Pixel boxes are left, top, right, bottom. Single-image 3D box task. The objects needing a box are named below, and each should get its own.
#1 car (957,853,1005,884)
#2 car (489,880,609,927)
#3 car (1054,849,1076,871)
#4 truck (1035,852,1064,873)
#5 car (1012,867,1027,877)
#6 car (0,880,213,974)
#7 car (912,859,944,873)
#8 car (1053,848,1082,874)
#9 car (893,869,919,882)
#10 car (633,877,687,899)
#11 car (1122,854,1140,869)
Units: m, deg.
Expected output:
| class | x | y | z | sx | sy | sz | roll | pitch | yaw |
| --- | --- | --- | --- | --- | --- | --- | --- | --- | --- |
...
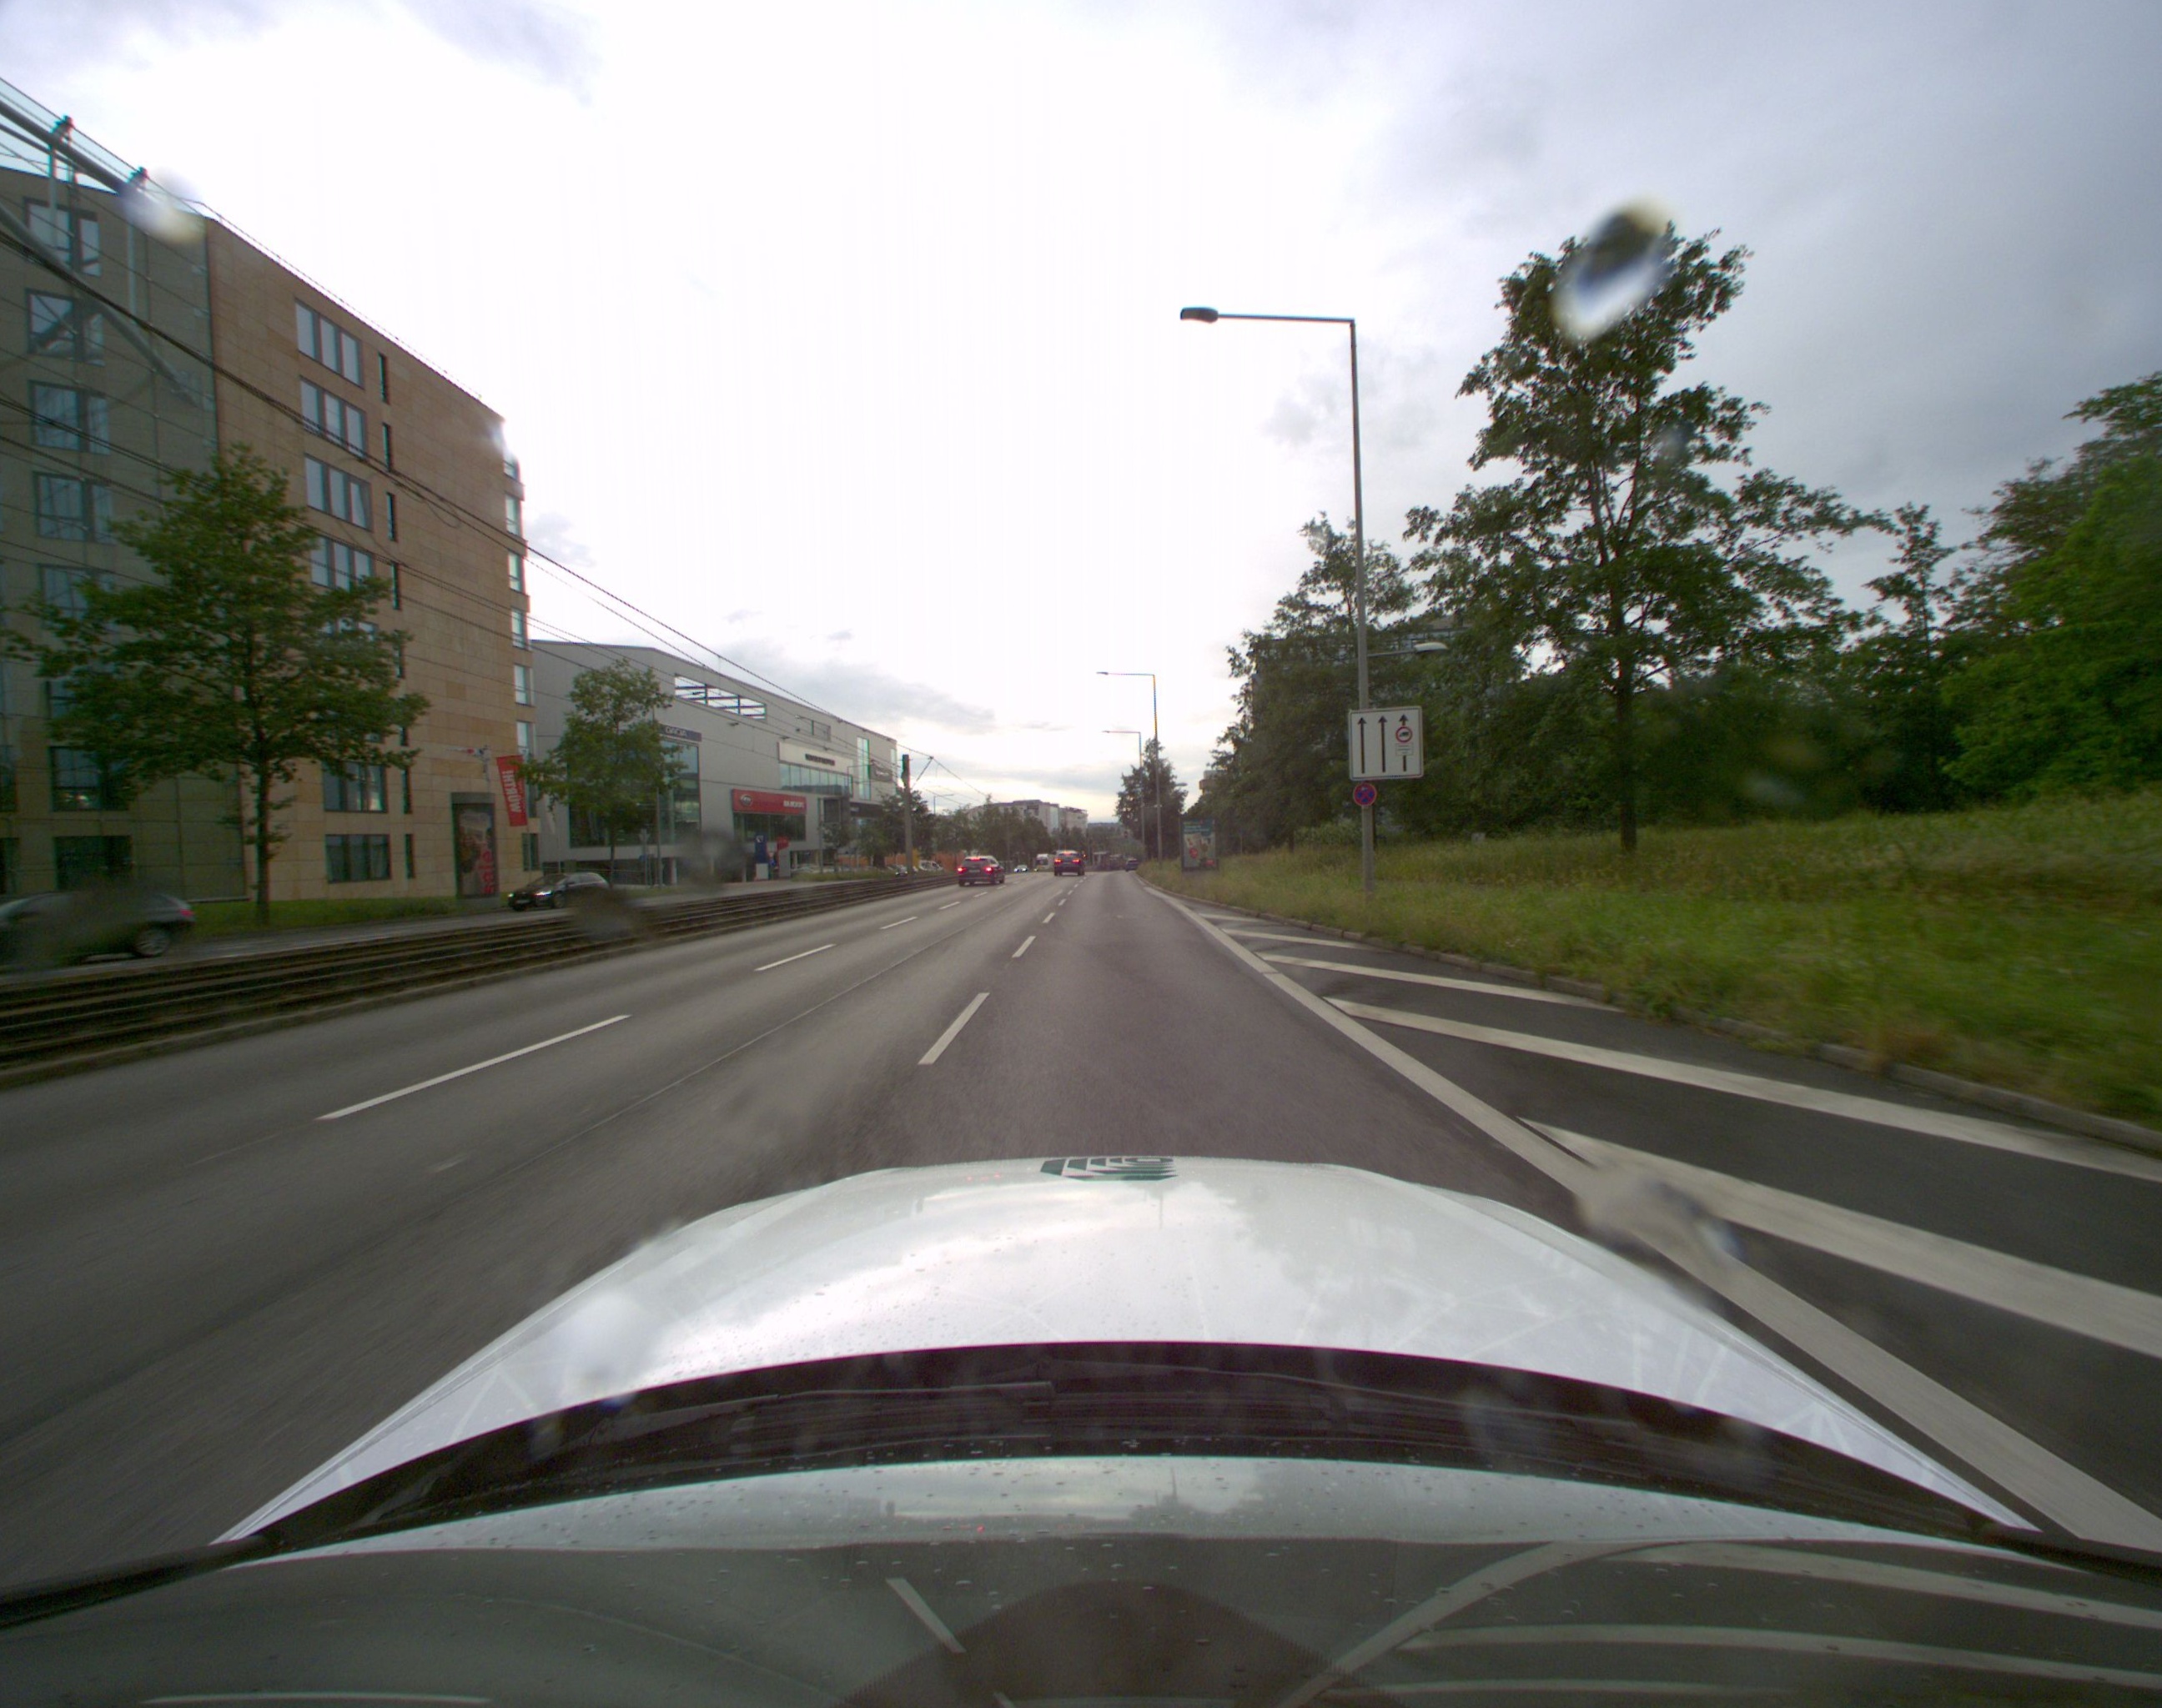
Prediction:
| class | x | y | z | sx | sy | sz | roll | pitch | yaw |
| --- | --- | --- | --- | --- | --- | --- | --- | --- | --- |
| car | -4.884 | 0.687 | 40.401 | 1.780 | 1.413 | 4.805 | -1 | 0 | 0 |
| car | -21.877 | 1.978 | 33.751 | 1.834 | 1.486 | 4.432 | -5 | 0 | 2 |
| car | -1.666 | 0.582 | 86.247 | 2.262 | 2.285 | 4.756 | 0 | 0 | -2 |
| truck | -6.526 | 1.775 | 174.601 | 3.024 | 4.181 | 17.243 | -1 | 0 | 9 |
| car | -9.889 | 2.890 | 131.011 | 1.660 | 1.462 | 4.243 | -1 | -2 | 4 |
| car | -19.490 | 1.389 | 14.994 | 1.834 | 1.486 | 4.655 | -5 | 0 | 2 |
| car | -25.966 | 1.996 | 138.324 | 5.305 | 2.313 | 2.012 | 0 | -2 | -11 |
| car | -0.952 | 0.485 | 56.063 | 1.917 | 1.710 | 4.095 | 0 | 0 | -2 |
| car | -19.090 | 2.359 | 89.019 | 1.660 | 1.462 | 4.242 | 0 | -2 | 4 |
| car | -37.186 | 2.974 | 72.076 | 1.985 | 1.725 | 4.943 | 0 | -1 | 2 |
| car | 5.859 | 0.873 | 95.833 | 1.784 | 1.591 | 3.997 | -2 | 0 | -2 |
